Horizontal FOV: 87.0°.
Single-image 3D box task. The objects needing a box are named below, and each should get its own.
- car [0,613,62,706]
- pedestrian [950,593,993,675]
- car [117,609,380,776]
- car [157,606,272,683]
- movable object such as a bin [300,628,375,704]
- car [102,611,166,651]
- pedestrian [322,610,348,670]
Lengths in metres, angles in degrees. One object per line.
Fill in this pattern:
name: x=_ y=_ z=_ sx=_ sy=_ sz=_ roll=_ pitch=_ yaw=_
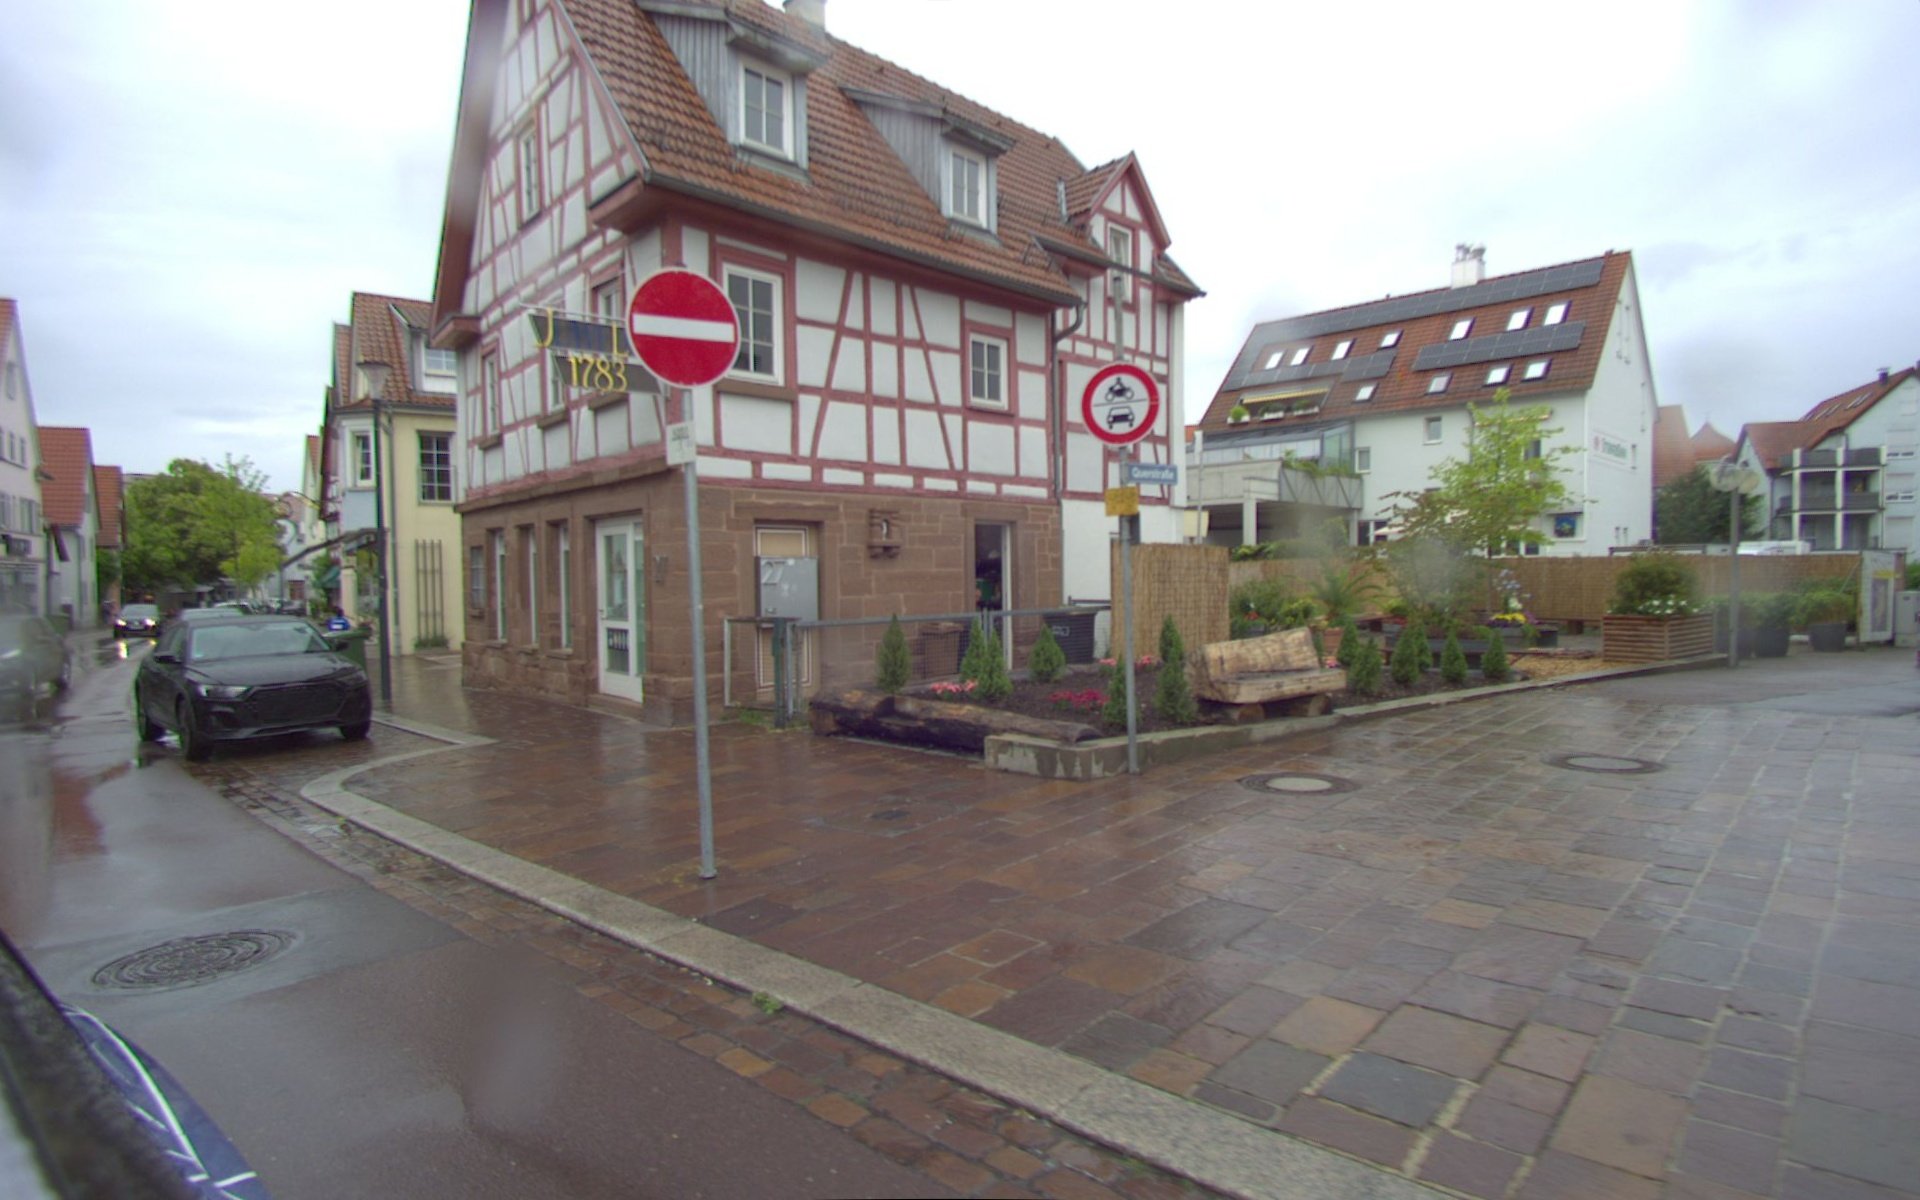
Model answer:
car: x=-17.855 y=1.046 z=18.552 sx=1.709 sy=1.567 sz=3.853 roll=-1 pitch=0 yaw=-36
pedestrian: x=0.166 y=0.487 z=14.659 sx=0.406 sy=1.163 sz=0.425 roll=-1 pitch=0 yaw=-43
car: x=-8.398 y=0.926 z=11.804 sx=4.000 sy=1.497 sz=1.671 roll=-1 pitch=3 yaw=43
car: x=-17.727 y=0.985 z=24.067 sx=1.968 sy=1.540 sz=4.009 roll=-4 pitch=2 yaw=-37
movable object such as a bin: x=-9.847 y=1.027 z=16.002 sx=0.823 sy=1.120 sz=0.920 roll=-1 pitch=0 yaw=-45
car: x=-38.397 y=1.390 z=47.134 sx=1.967 sy=1.763 sz=4.010 roll=-1 pitch=0 yaw=-34
pedestrian: x=-13.940 y=0.883 z=22.580 sx=0.448 sy=1.317 sz=0.518 roll=-1 pitch=0 yaw=-36
